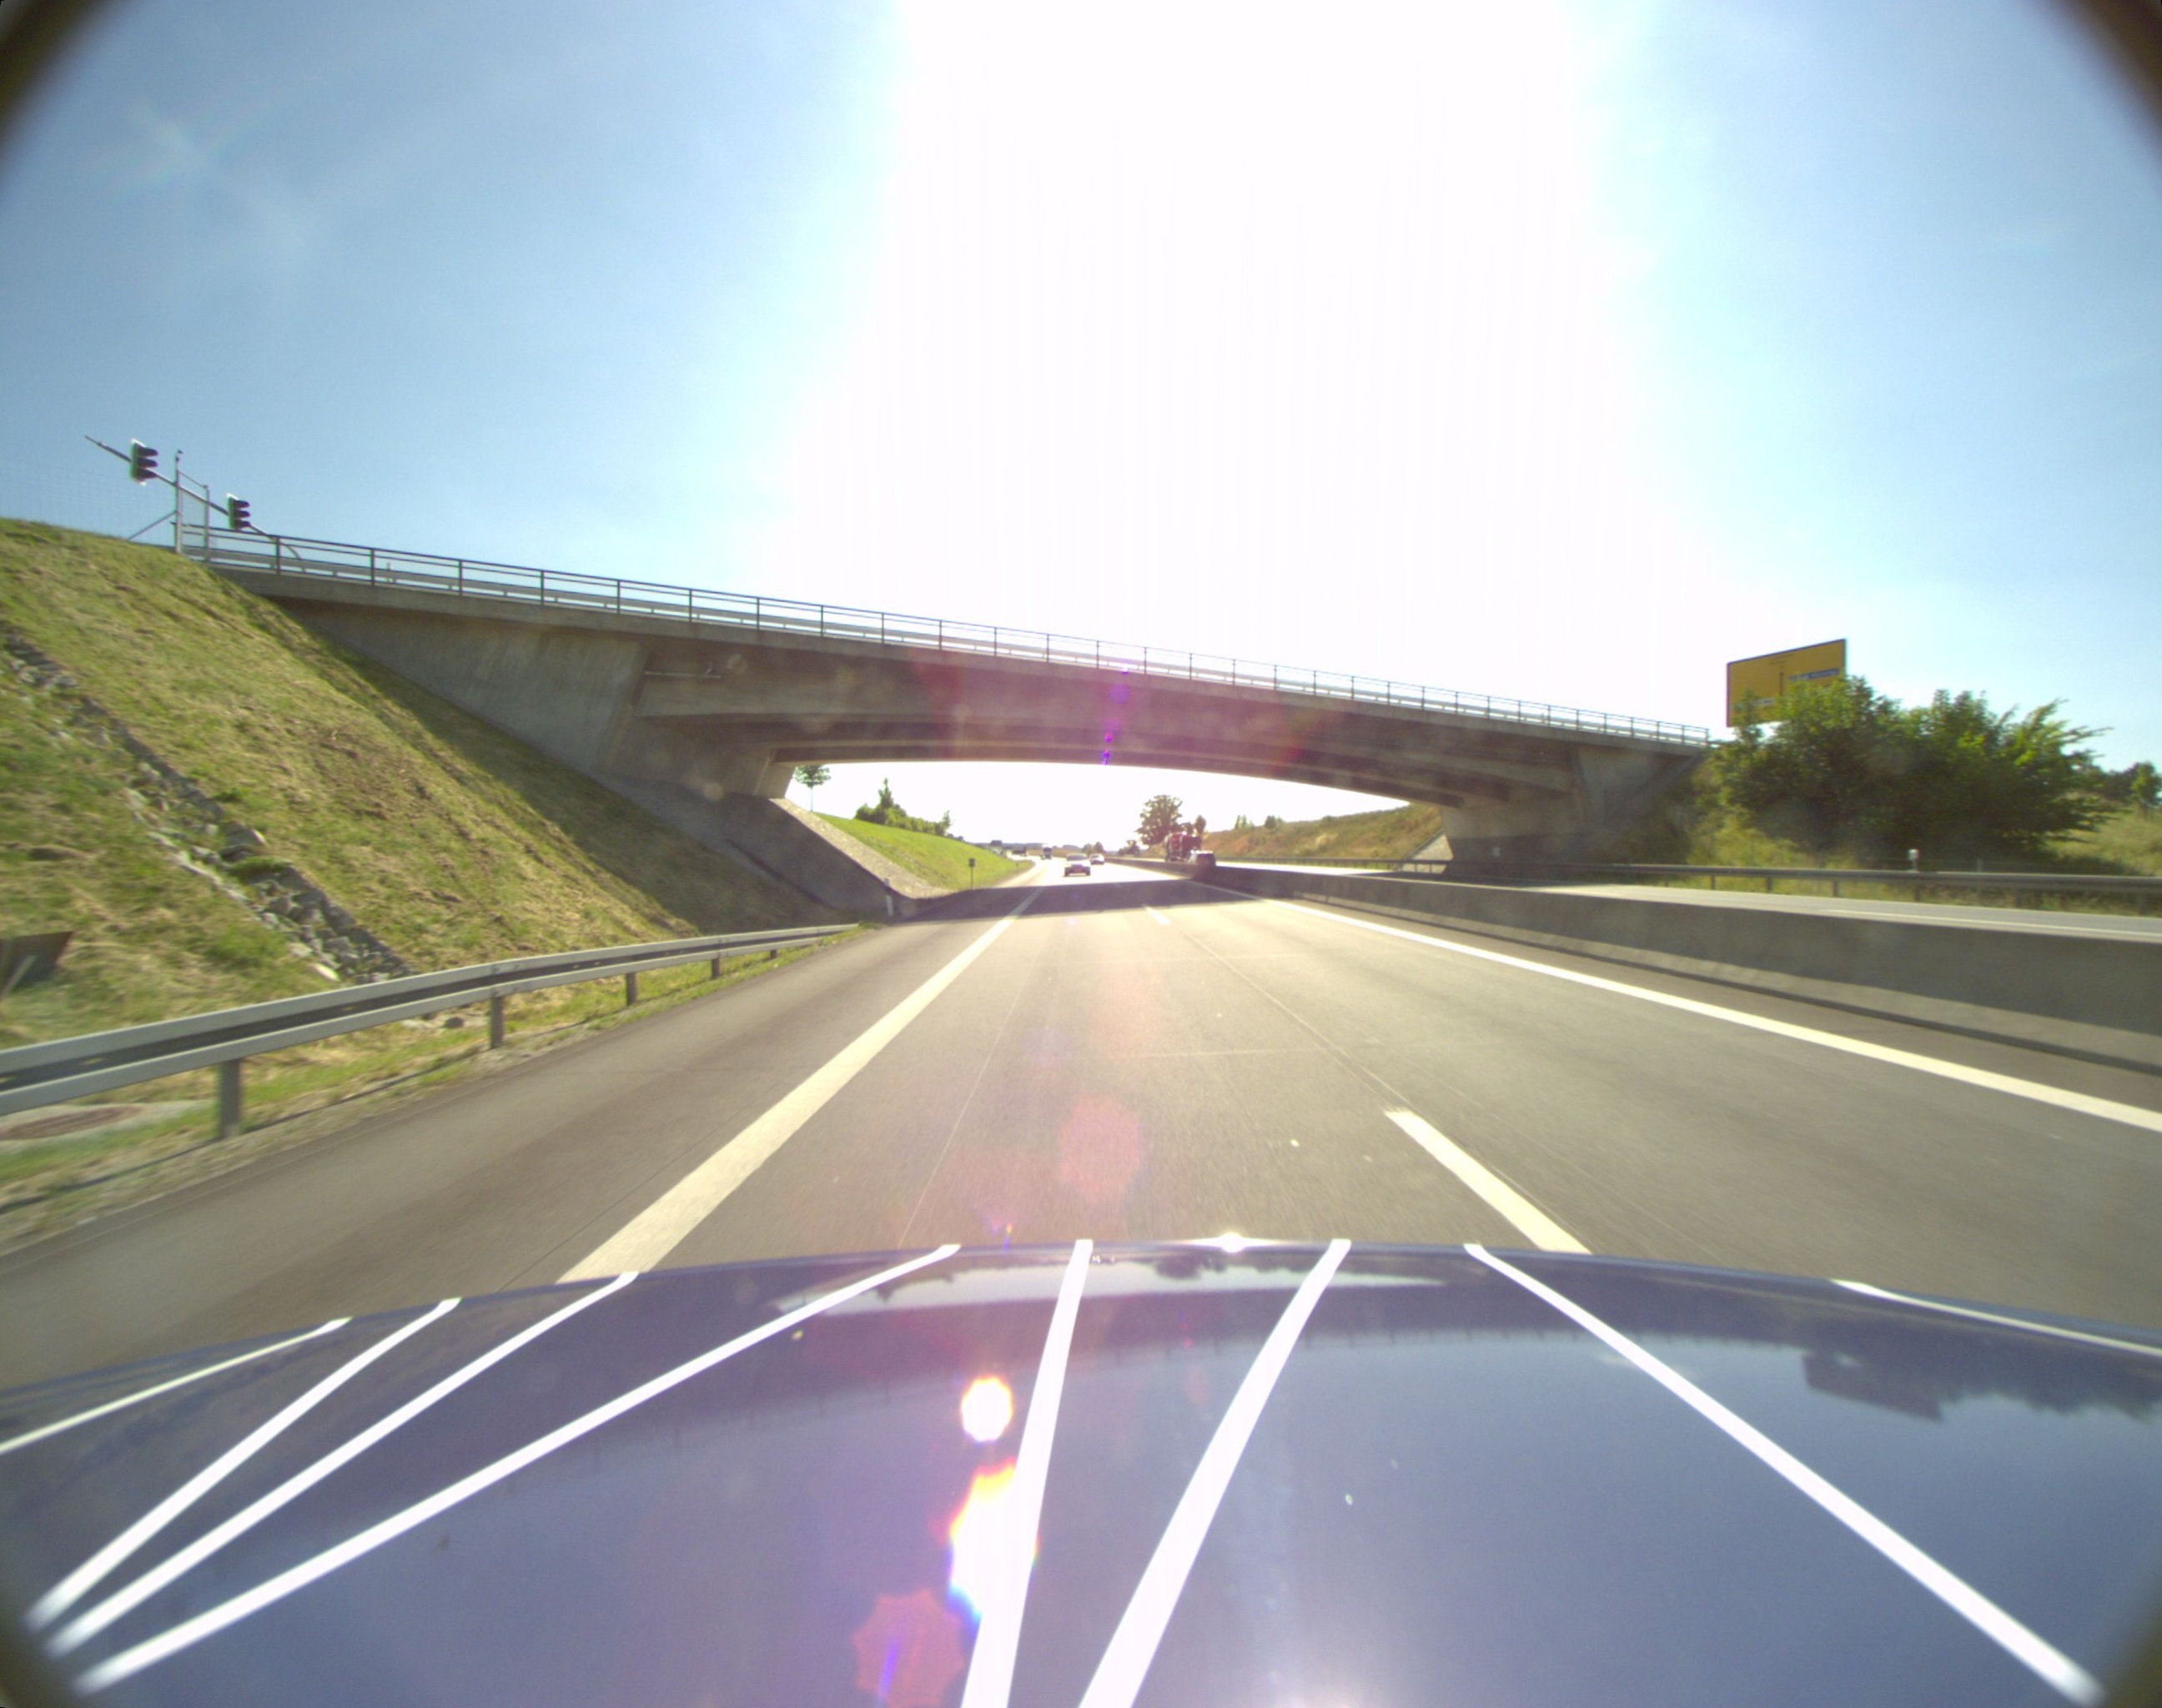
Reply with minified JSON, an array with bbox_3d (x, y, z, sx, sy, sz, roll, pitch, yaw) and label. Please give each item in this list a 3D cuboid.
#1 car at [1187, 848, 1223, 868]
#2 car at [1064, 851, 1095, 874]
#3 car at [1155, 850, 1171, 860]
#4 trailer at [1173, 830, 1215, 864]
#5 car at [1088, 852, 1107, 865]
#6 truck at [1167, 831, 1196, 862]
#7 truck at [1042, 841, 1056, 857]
[{"bbox_3d":[10.169,0.325,62.805,2.075,1.565,4.926,-1,0,-1],"label":"car"},{"bbox_3d":[-0.150,0.568,53.948,1.892,1.565,3.790,-2,1,-4],"label":"car"},{"bbox_3d":[13.201,0.107,122.965,1.867,1.522,4.567,-1,0,-3],"label":"car"},{"bbox_3d":[12.890,-0.812,88.073,2.672,3.636,13.234,-1,0,-1],"label":"trailer"},{"bbox_3d":[2.007,0.506,95.220,1.900,1.560,3.998,-1,0,-5],"label":"car"},{"bbox_3d":[12.774,-0.927,97.206,2.742,3.809,5.830,-1,1,-1],"label":"truck"},{"bbox_3d":[-8.478,-1.373,202.007,3.092,3.991,6.184,-1,1,-8],"label":"truck"}]
